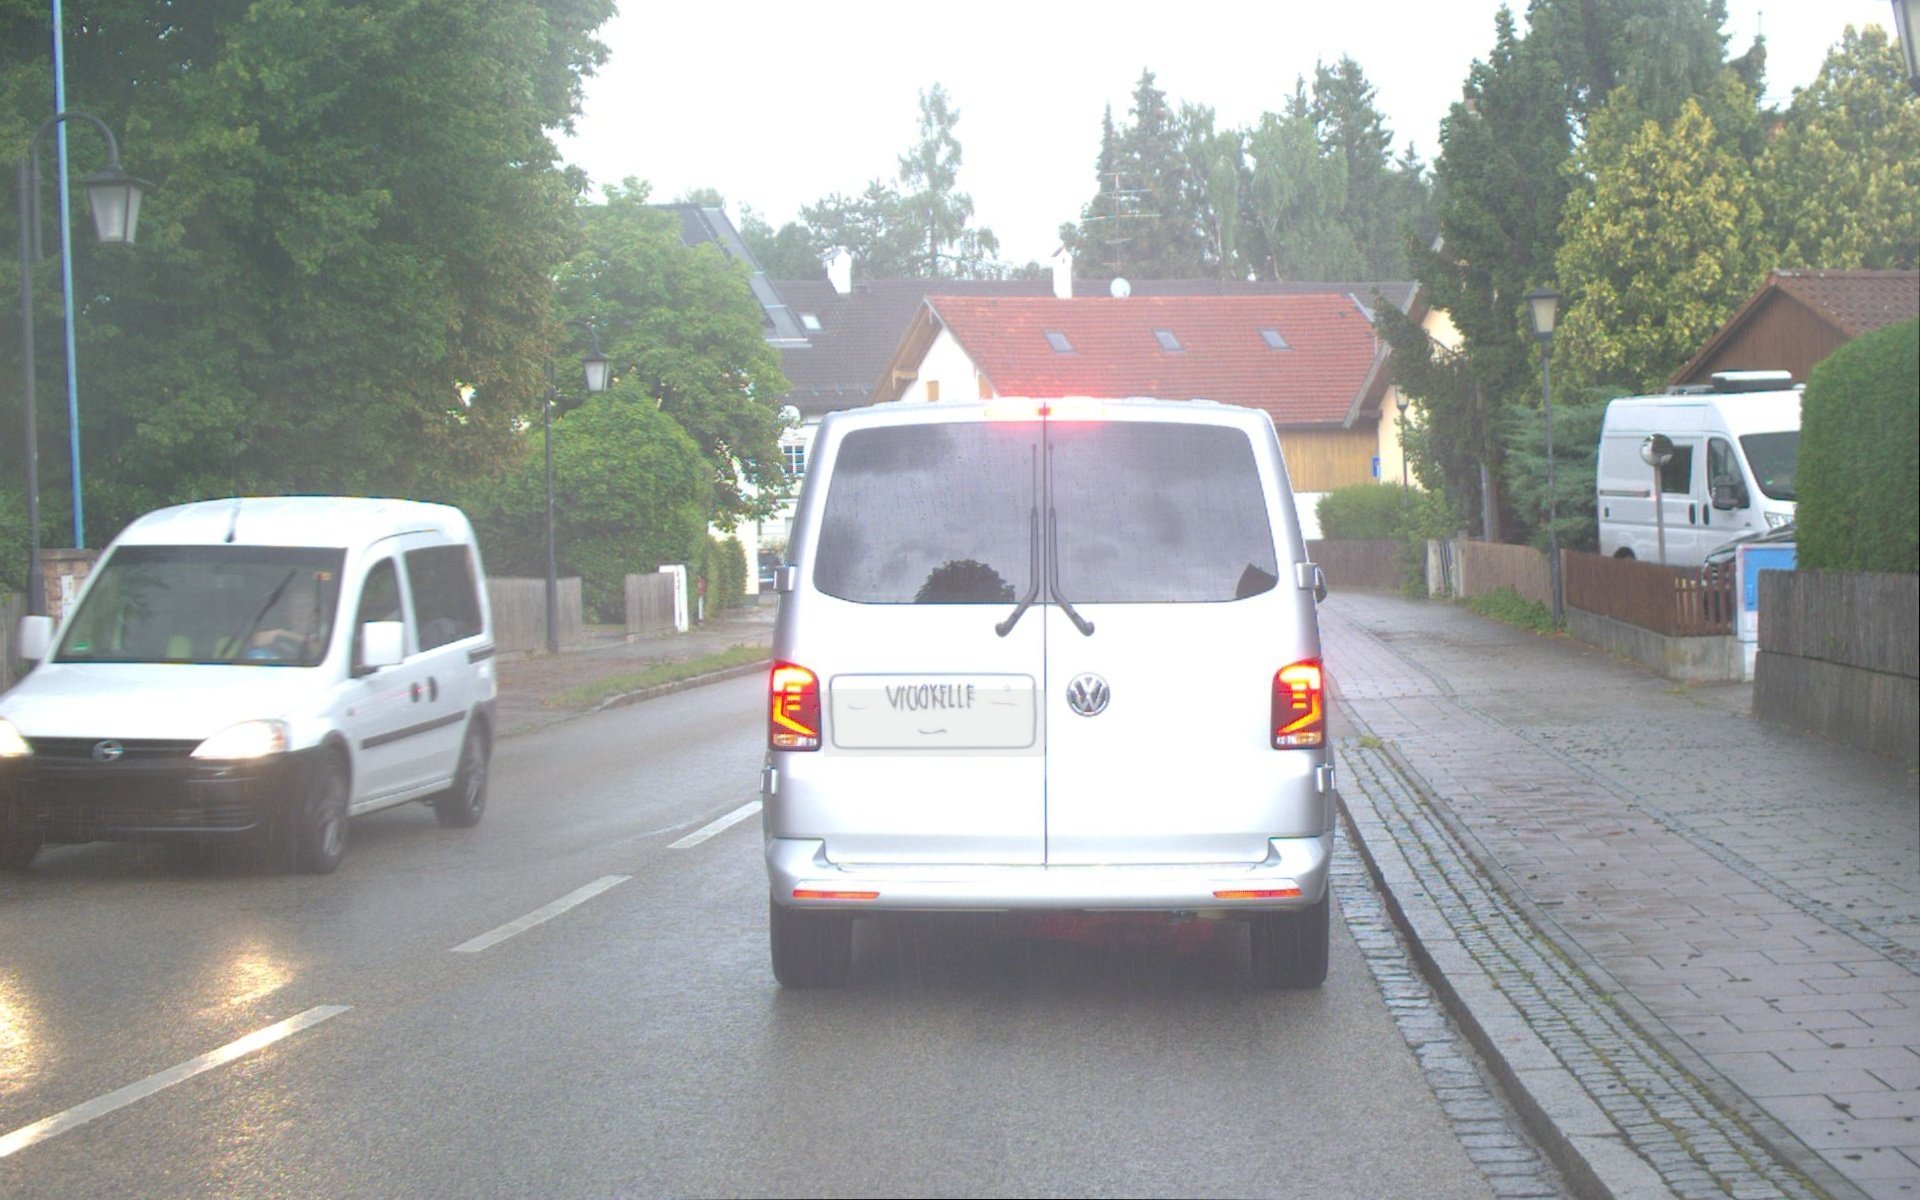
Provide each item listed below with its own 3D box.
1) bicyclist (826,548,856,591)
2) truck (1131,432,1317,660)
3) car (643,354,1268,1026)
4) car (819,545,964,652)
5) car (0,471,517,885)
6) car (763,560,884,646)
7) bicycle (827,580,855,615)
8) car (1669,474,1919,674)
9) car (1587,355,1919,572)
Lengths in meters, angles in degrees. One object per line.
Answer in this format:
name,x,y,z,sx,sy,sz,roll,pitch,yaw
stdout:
bicyclist,-2.800,-0.720,80.870,0.587,1.018,1.060,0,1,3
truck,3.764,-0.749,49.701,2.476,3.063,6.295,1,0,3
car,0.156,0.256,12.401,1.801,2.007,3.999,1,0,6
car,-0.924,-0.026,48.052,1.618,1.439,3.670,0,0,6
car,-3.472,0.321,16.943,1.640,1.759,4.330,1,0,5
car,-2.334,0.047,59.712,1.618,1.439,3.670,0,0,6
bicycle,-2.800,-0.067,80.923,0.456,0.796,1.977,0,1,3
car,8.903,-0.288,32.340,4.093,1.745,1.695,-1,3,1
car,8.655,-1.406,37.492,1.993,2.166,4.954,1,0,-9
